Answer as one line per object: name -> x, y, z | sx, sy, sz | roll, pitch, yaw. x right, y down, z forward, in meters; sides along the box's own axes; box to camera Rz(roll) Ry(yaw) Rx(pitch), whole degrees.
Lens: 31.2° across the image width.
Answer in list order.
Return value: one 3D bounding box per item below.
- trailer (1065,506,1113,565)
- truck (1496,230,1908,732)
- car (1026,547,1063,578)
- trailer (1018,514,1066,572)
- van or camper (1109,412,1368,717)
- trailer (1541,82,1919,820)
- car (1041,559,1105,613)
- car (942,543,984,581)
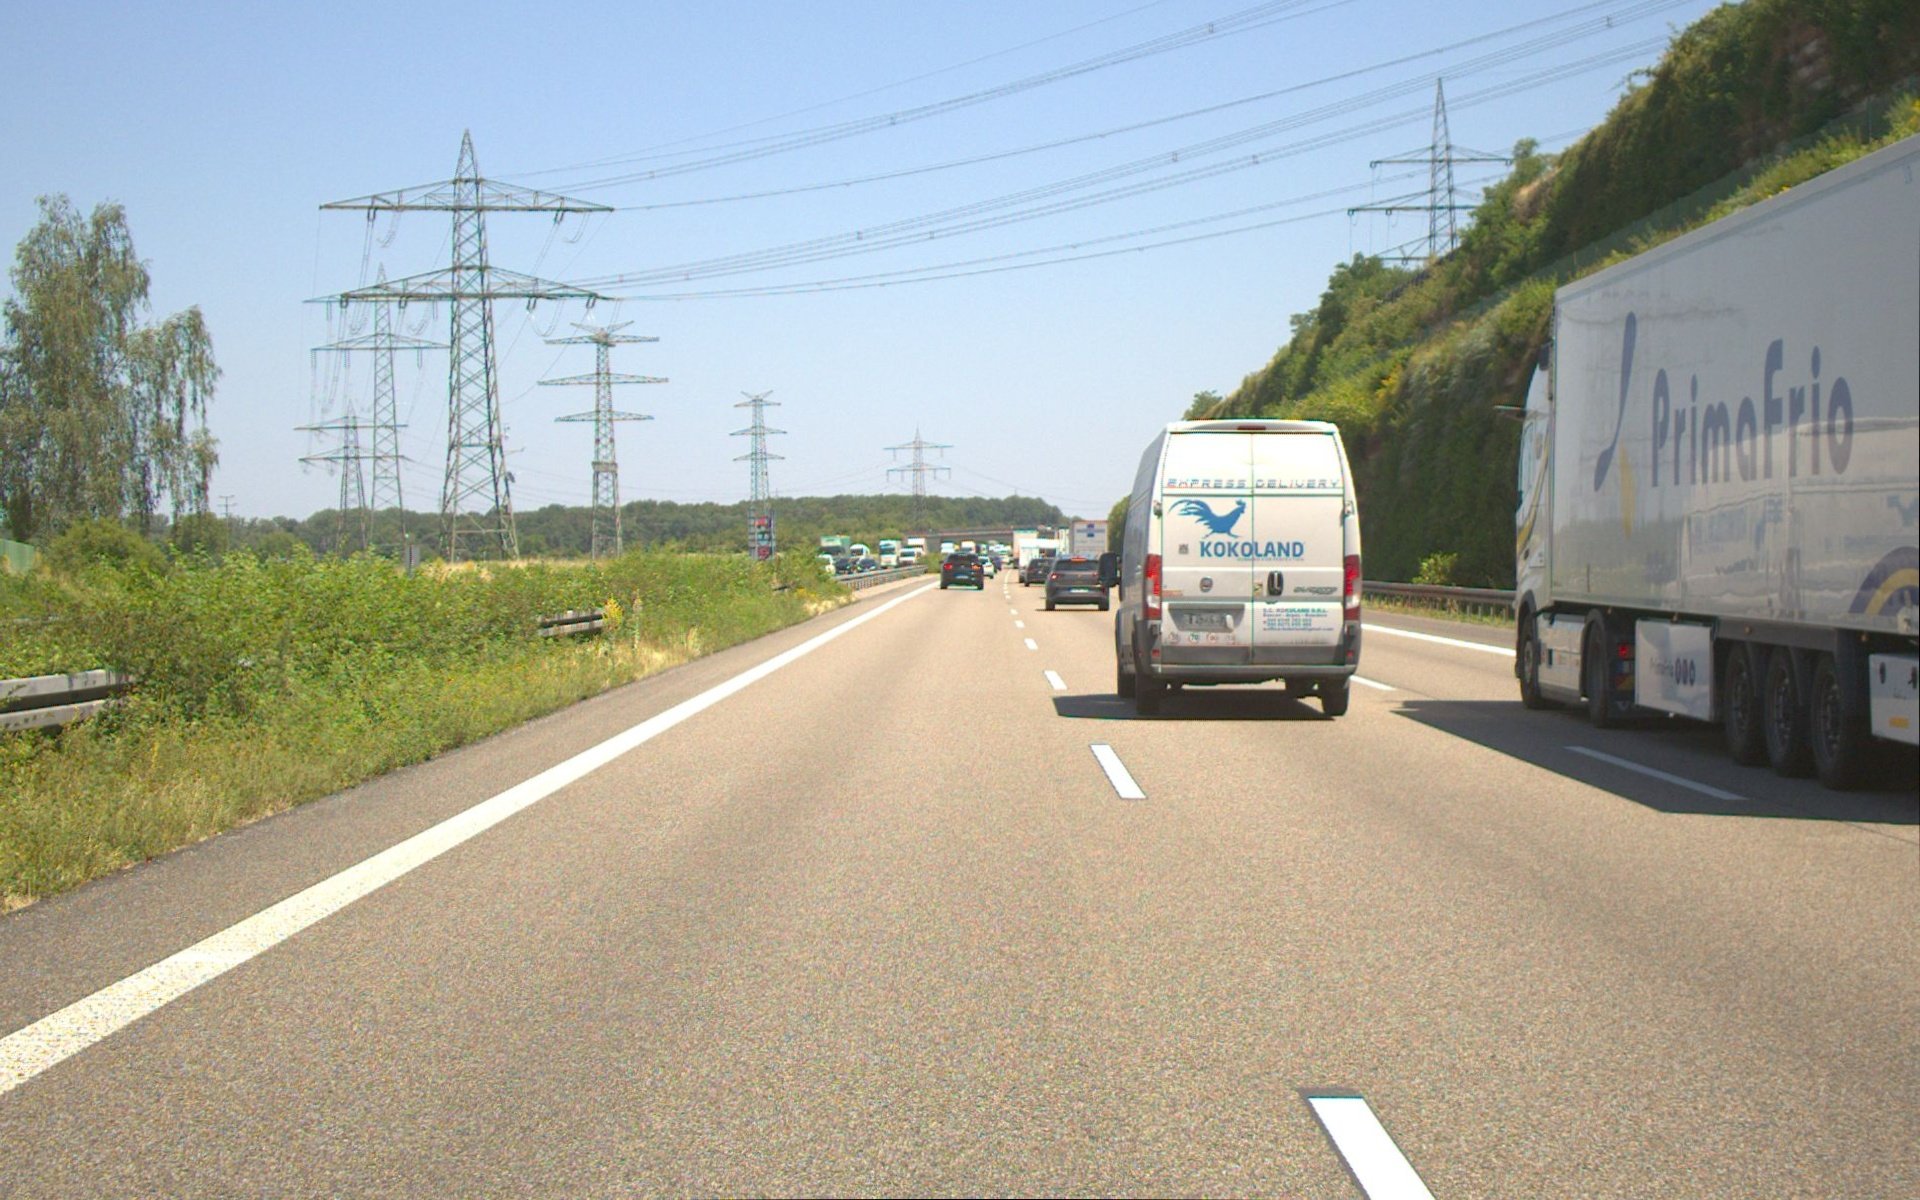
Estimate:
trailer -> 9.364, -4.674, 250.576 | 3.183, 4.107, 13.431 | -1, 1, 1
truck -> 6.775, -1.042, 32.260 | 2.507, 4.205, 6.256 | 1, 1, 1
car -> 4.328, -1.942, 176.313 | 1.830, 1.520, 4.000 | -1, 1, 2
trailer -> 4.720, -3.295, 199.708 | 2.611, 3.202, 9.953 | -1, 1, 1
van or camper -> 2.672, -0.373, 34.538 | 2.096, 2.759, 6.757 | 0, 1, 0
trailer -> 6.745, -0.927, 24.181 | 2.514, 4.197, 17.028 | 0, 1, 0
car -> 3.219, -0.416, 98.611 | 1.749, 1.520, 3.995 | 0, 1, 1
car -> 0.134, -1.769, 159.269 | 1.830, 1.665, 4.000 | -1, 1, 1
